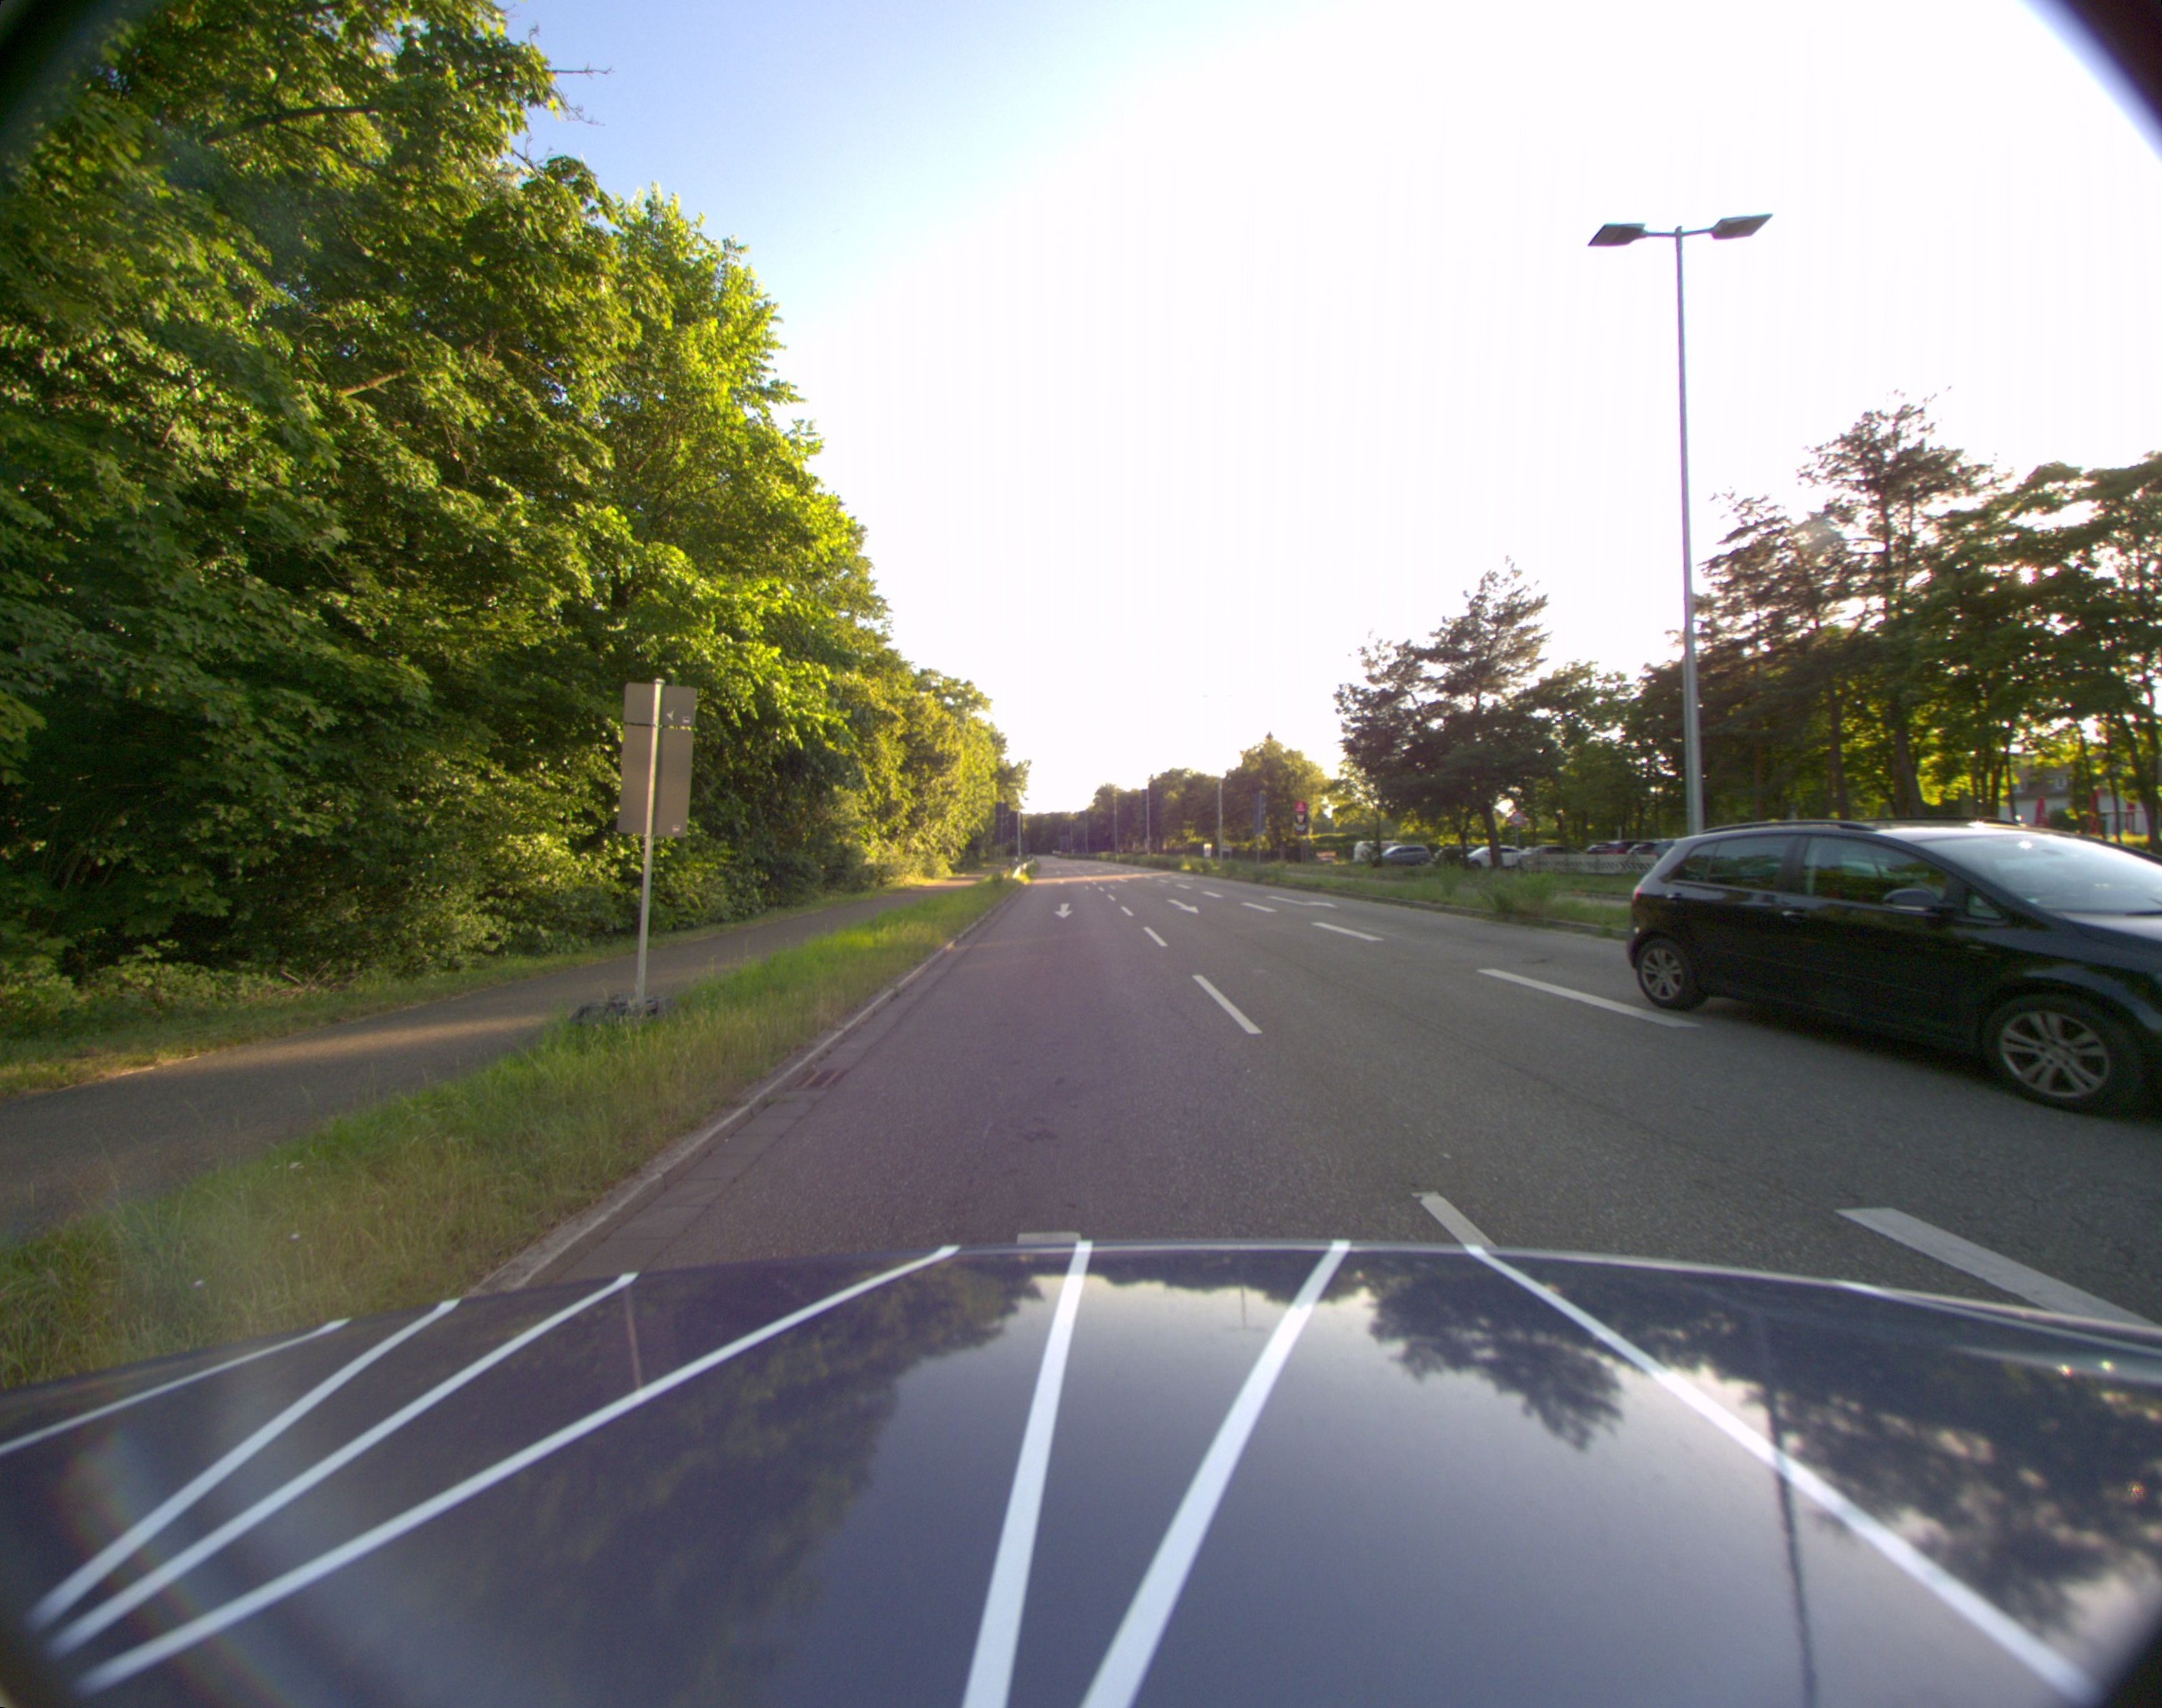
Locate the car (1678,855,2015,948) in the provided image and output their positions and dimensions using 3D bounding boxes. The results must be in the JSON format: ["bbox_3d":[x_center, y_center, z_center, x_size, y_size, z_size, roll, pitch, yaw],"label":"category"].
[{"bbox_3d":[14.099,0.770,14.491,1.896,1.433,4.499,-1,1,0],"label":"car"}]

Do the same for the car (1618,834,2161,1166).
[{"bbox_3d":[5.972,0.659,4.979,1.999,1.543,3.999,-1,0,-2],"label":"car"}]

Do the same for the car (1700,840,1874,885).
[{"bbox_3d":[26.422,0.260,28.722,1.999,1.539,4.708,-1,1,-4],"label":"car"}]

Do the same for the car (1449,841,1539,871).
[{"bbox_3d":[25.172,0.133,46.392,4.497,1.743,1.909,-1,1,-1],"label":"car"}]

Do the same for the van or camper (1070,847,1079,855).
[{"bbox_3d":[-1.942,-0.880,221.580,2.000,2.002,4.573,-1,0,-10],"label":"van or camper"}]

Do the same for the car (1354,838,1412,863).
[{"bbox_3d":[24.223,-0.248,61.055,3.998,1.933,1.766,-1,1,-2],"label":"car"}]

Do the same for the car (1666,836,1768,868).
[{"bbox_3d":[34.082,-0.117,40.787,3.997,1.641,1.766,-1,1,-1],"label":"car"}]

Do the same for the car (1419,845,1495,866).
[{"bbox_3d":[24.045,0.077,48.632,3.997,1.304,1.732,-1,1,-1],"label":"car"}]

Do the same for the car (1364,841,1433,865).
[{"bbox_3d":[24.194,-0.096,58.017,4.498,1.787,1.909,-1,1,-2],"label":"car"}]

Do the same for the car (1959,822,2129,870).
[{"bbox_3d":[34.983,-0.283,27.676,3.997,1.641,1.766,-1,1,-1],"label":"car"}]

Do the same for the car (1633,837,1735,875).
[{"bbox_3d":[26.016,0.078,32.844,3.099,1.518,1.659,-1,1,-2],"label":"car"}]

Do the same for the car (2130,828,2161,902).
[{"bbox_3d":[27.108,0.261,16.405,1.999,1.776,4.920,-1,1,-4],"label":"car"}]

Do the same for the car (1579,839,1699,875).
[{"bbox_3d":[26.403,0.112,36.040,4.525,1.608,1.771,-1,1,-3],"label":"car"}]

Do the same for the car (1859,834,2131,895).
[{"bbox_3d":[26.777,0.249,22.613,1.999,1.597,4.920,-1,0,-4],"label":"car"}]

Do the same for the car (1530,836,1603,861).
[{"bbox_3d":[34.124,-0.398,53.468,3.997,1.641,1.766,-1,1,-1],"label":"car"}]

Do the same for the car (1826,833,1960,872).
[{"bbox_3d":[35.422,-0.070,33.232,3.997,1.641,1.766,-1,1,-1],"label":"car"}]
